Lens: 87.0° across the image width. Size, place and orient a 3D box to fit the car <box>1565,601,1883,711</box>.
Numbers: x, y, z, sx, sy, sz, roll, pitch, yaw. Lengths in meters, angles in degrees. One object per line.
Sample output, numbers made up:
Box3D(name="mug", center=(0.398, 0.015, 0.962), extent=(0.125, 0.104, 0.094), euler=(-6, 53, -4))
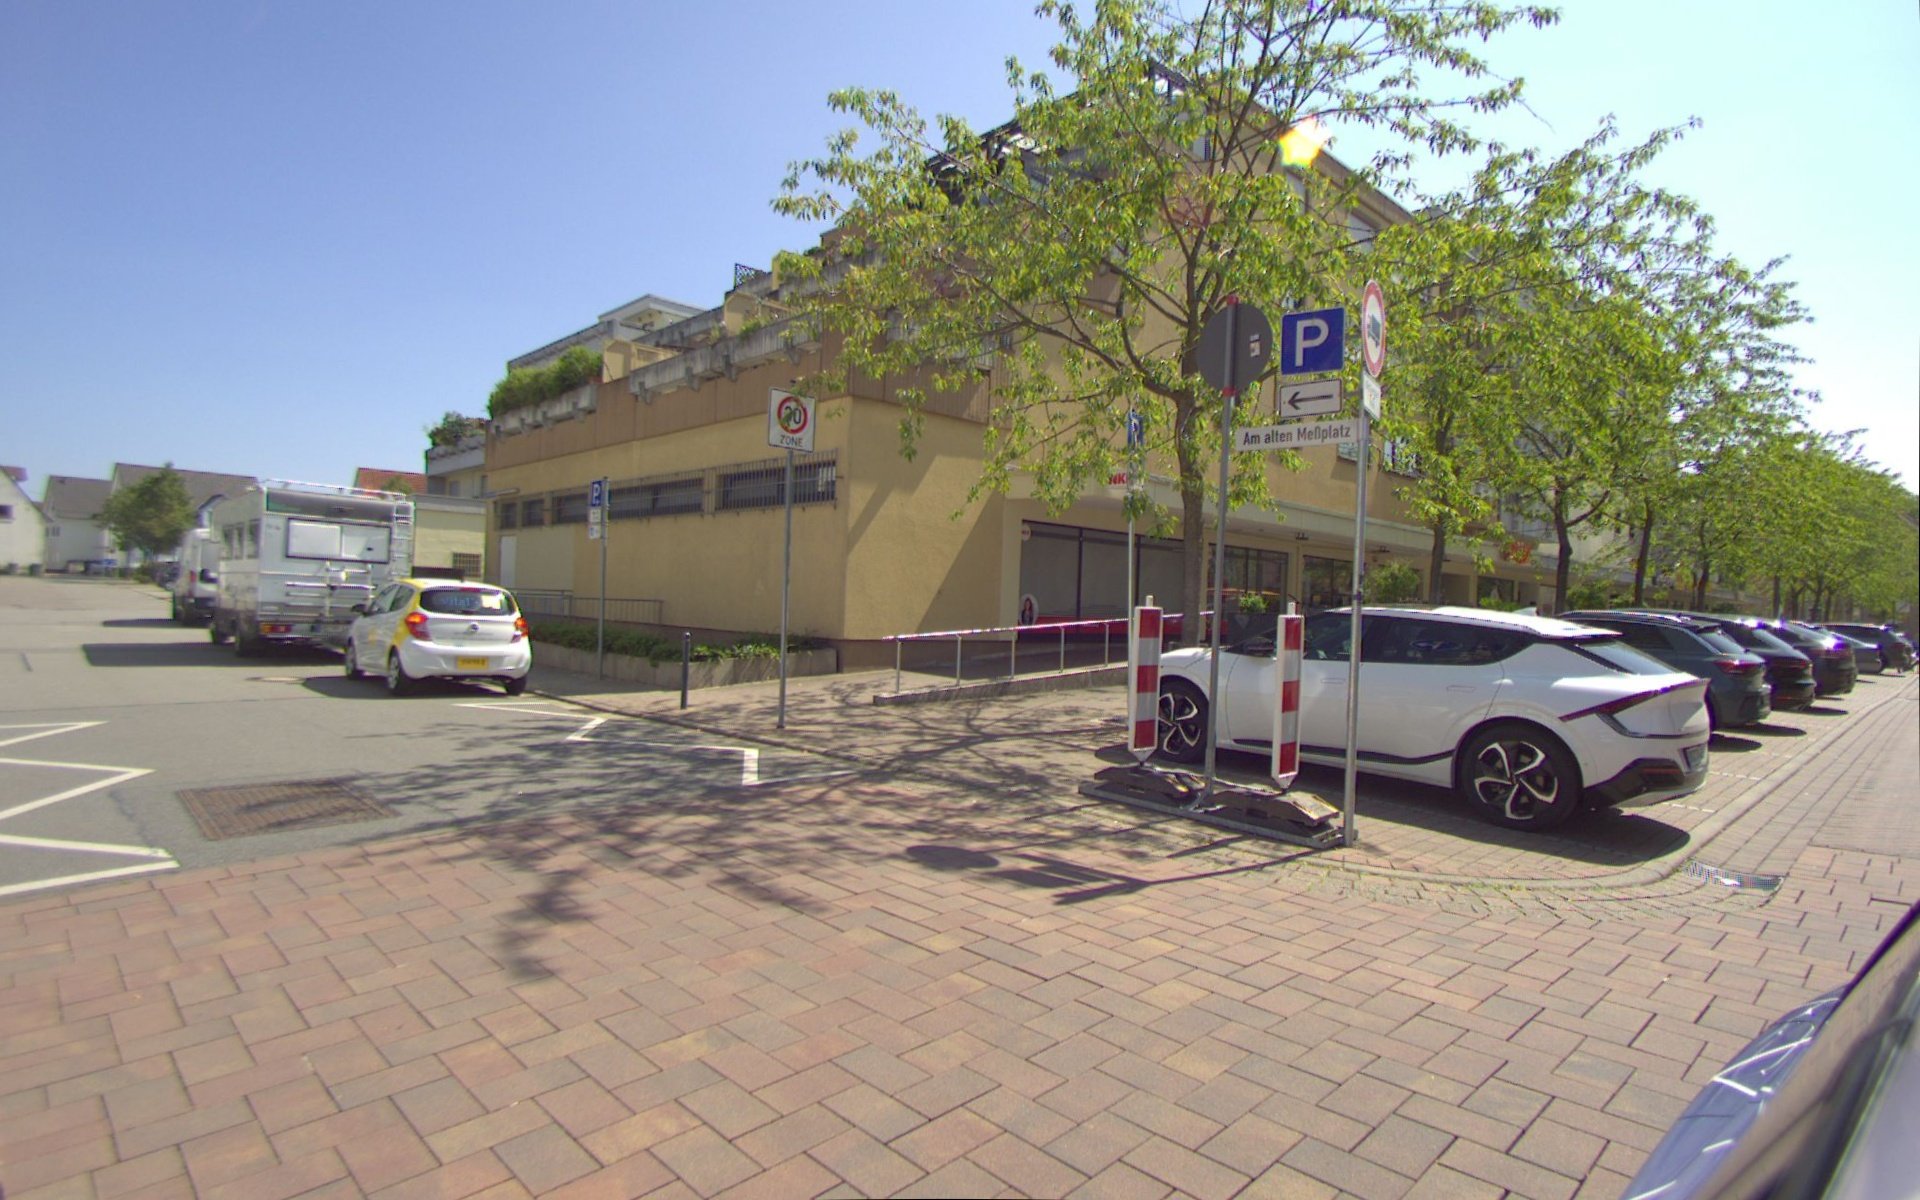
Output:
Box3D(name="car", center=(14.379, 0.965, 19.272), extent=(1.818, 1.608, 4.517), euler=(2, 1, -41))

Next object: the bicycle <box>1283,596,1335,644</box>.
Box3D(name="bicycle", center=(8.538, 0.485, 24.746), extent=(1.744, 1.138, 0.413), euler=(1, -1, -43))

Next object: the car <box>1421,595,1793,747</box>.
Box3D(name="car", center=(8.724, 0.842, 13.864), extent=(1.794, 1.553, 3.948), euler=(2, 2, -44))

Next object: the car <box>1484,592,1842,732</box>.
Box3D(name="car", center=(10.800, 0.840, 15.750), extent=(4.281, 1.702, 1.968), euler=(4, 1, 45))

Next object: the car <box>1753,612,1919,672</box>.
Box3D(name="car", center=(29.742, 1.375, 34.335), extent=(1.728, 1.638, 4.248), euler=(2, 1, -44))

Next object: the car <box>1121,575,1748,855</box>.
Box3D(name="car", center=(3.716, 0.707, 8.604), extent=(1.758, 1.595, 4.446), euler=(2, 2, -43))

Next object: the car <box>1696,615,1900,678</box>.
Box3D(name="car", center=(25.058, 1.340, 30.496), extent=(4.348, 1.481, 1.872), euler=(4, 1, 28))

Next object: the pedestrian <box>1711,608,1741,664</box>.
Box3D(name="pedestrian", center=(25.627, 1.191, 33.863), extent=(0.598, 1.819, 0.624), euler=(1, -1, 18))

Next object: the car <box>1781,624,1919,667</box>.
Box3D(name="car", center=(37.523, 1.887, 42.438), extent=(1.776, 1.563, 4.580), euler=(3, -1, -43))

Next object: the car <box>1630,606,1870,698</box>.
Box3D(name="car", center=(17.666, 1.092, 22.757), extent=(1.653, 1.632, 4.031), euler=(2, 2, -45))

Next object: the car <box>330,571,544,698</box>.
Box3D(name="car", center=(-7.258, 0.404, 13.889), extent=(1.627, 1.470, 3.618), euler=(3, -1, -43))

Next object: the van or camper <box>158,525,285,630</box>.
Box3D(name="van or camper", center=(-19.490, -0.590, 26.614), extent=(2.035, 2.509, 4.662), euler=(2, 0, -44))

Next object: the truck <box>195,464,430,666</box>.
Box3D(name="truck", center=(-12.005, -0.575, 18.488), extent=(2.501, 3.043, 6.394), euler=(2, 0, -42))

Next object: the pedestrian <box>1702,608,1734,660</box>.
Box3D(name="pedestrian", center=(26.074, 1.167, 34.828), extent=(0.634, 1.753, 0.617), euler=(1, -1, -10))

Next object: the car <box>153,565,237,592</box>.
Box3D(name="car", center=(-42.102, -1.197, 55.736), extent=(1.385, 1.329, 3.463), euler=(2, 0, 38))

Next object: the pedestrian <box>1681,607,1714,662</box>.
Box3D(name="pedestrian", center=(24.816, 1.157, 34.045), extent=(0.621, 1.796, 0.685), euler=(2, -1, 8))

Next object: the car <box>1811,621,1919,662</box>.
Box3D(name="car", center=(41.124, 1.848, 45.899), extent=(1.605, 1.536, 3.648), euler=(2, 1, -43))
